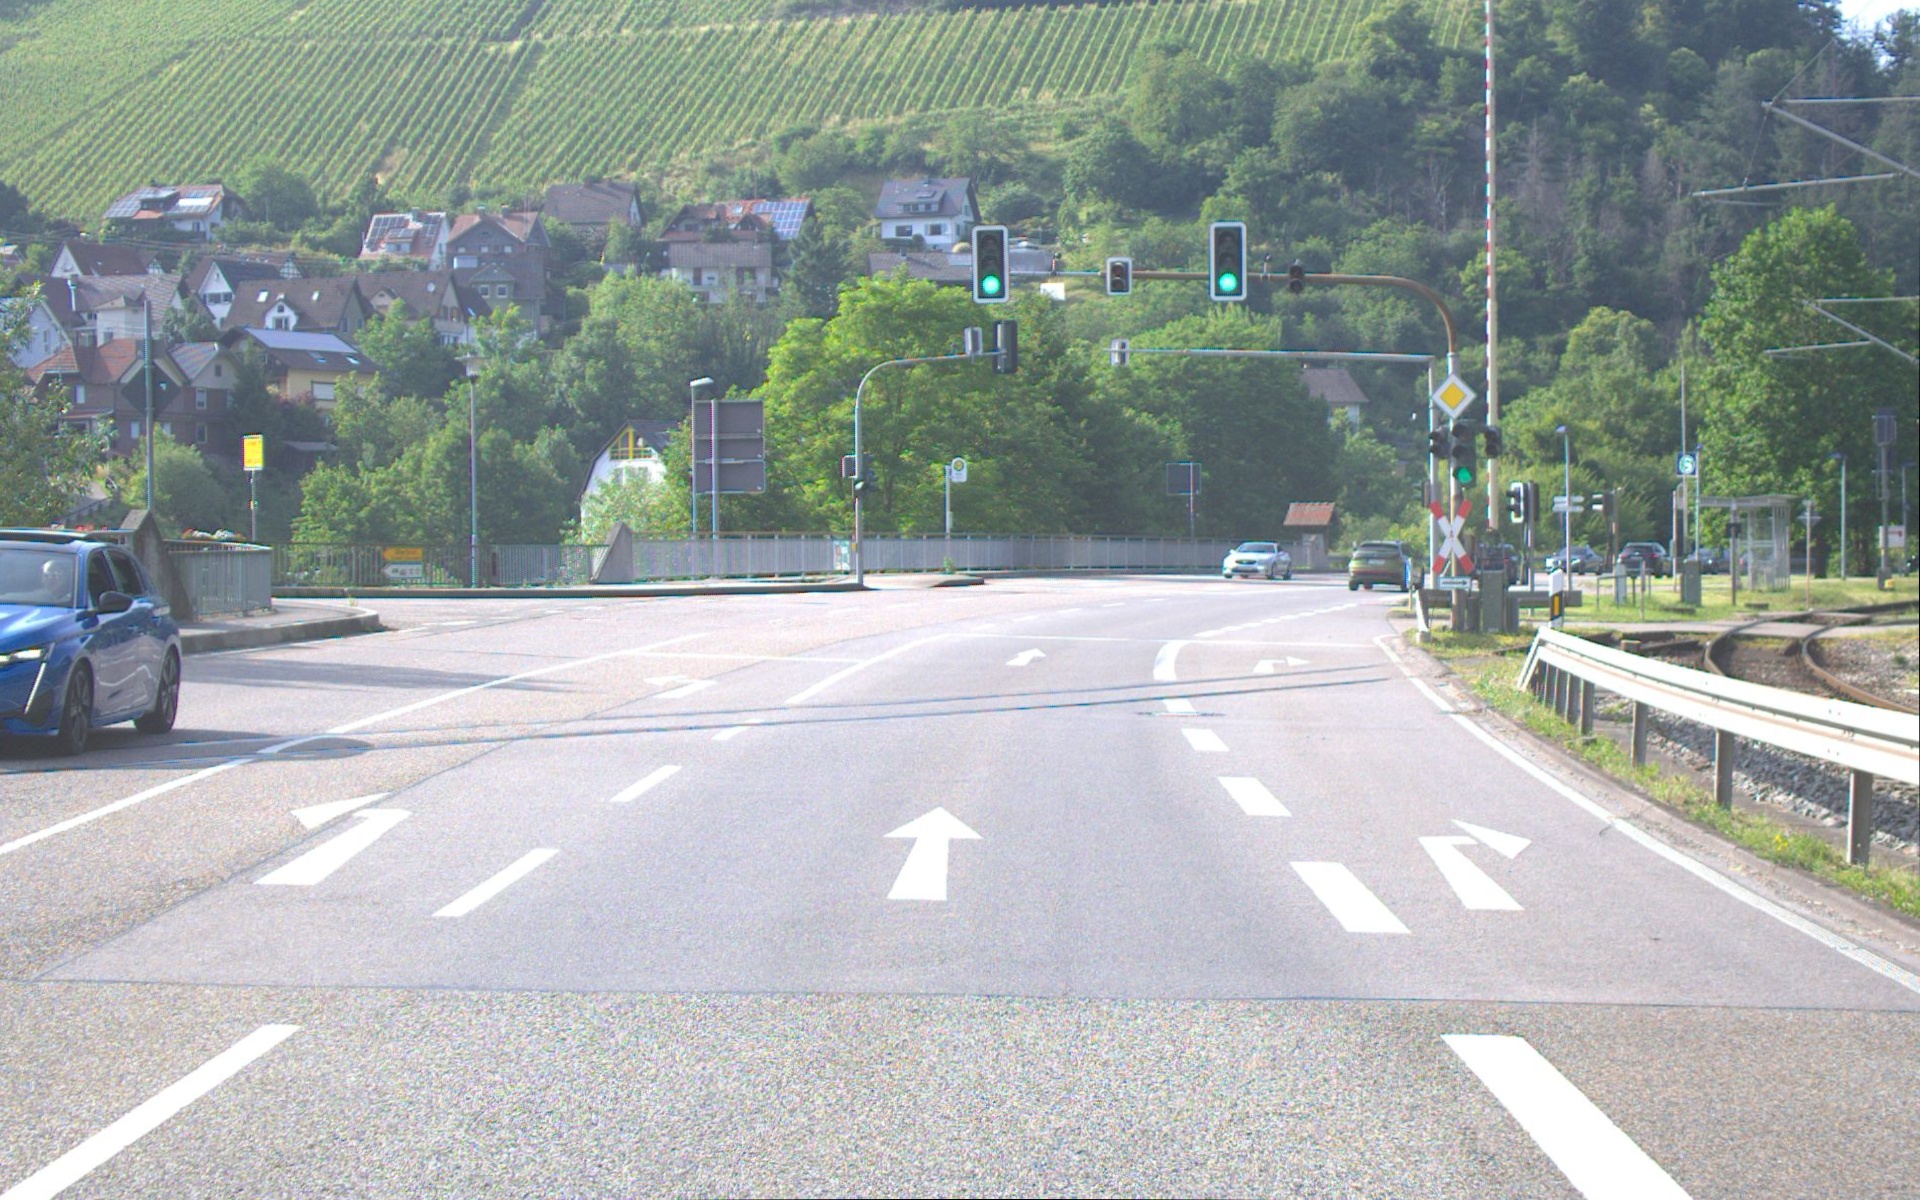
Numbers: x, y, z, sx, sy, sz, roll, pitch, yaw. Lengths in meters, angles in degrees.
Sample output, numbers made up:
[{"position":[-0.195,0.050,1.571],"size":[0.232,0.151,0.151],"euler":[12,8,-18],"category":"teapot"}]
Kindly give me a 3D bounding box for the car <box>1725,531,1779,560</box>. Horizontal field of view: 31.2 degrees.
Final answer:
[{"position":[40.114,-2.745,174.132],"size":[1.811,1.403,3.768],"euler":[-1,0,27],"category":"car"}]

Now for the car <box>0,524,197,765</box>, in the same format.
[{"position":[-6.569,0.222,23.470],"size":[1.782,1.477,4.526],"euler":[0,1,-1],"category":"car"}]

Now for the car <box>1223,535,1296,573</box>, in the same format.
[{"position":[10.345,-1.605,118.510],"size":[1.647,1.227,4.090],"euler":[1,2,18],"category":"car"}]

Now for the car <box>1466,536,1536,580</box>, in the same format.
[{"position":[18.962,-1.466,120.305],"size":[1.841,1.454,3.710],"euler":[-1,0,18],"category":"car"}]

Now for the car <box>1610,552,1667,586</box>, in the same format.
[{"position":[29.868,-1.349,151.207],"size":[1.808,1.448,3.643],"euler":[-1,0,22],"category":"car"}]

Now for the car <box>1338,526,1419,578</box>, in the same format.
[{"position":[12.160,-1.375,99.758],"size":[1.730,1.452,3.408],"euler":[-1,0,17],"category":"car"}]
